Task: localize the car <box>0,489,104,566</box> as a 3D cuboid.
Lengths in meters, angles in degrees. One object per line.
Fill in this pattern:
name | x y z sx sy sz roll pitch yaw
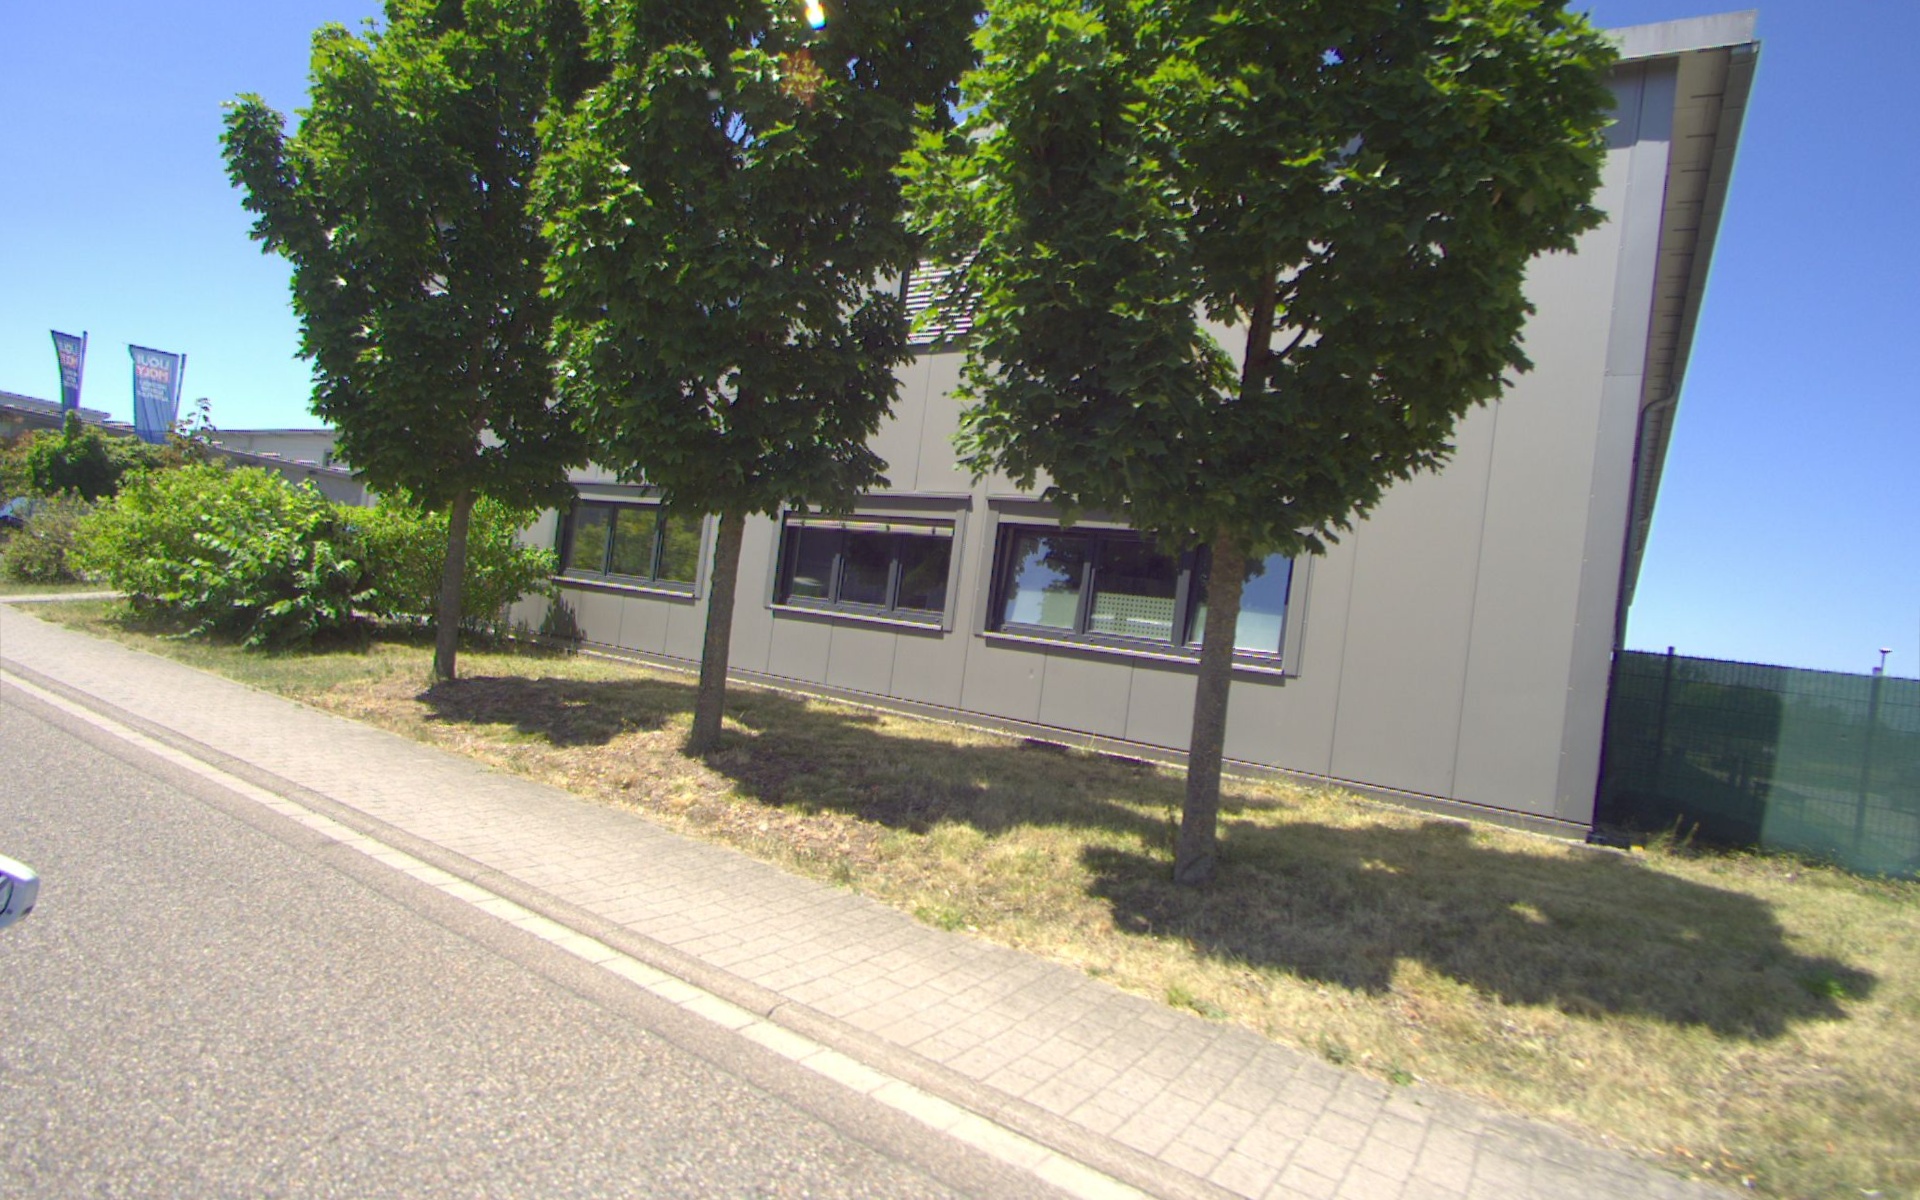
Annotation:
car | -23.573 -1.909 25.237 4.517 1.555 1.995 7 -1 34
